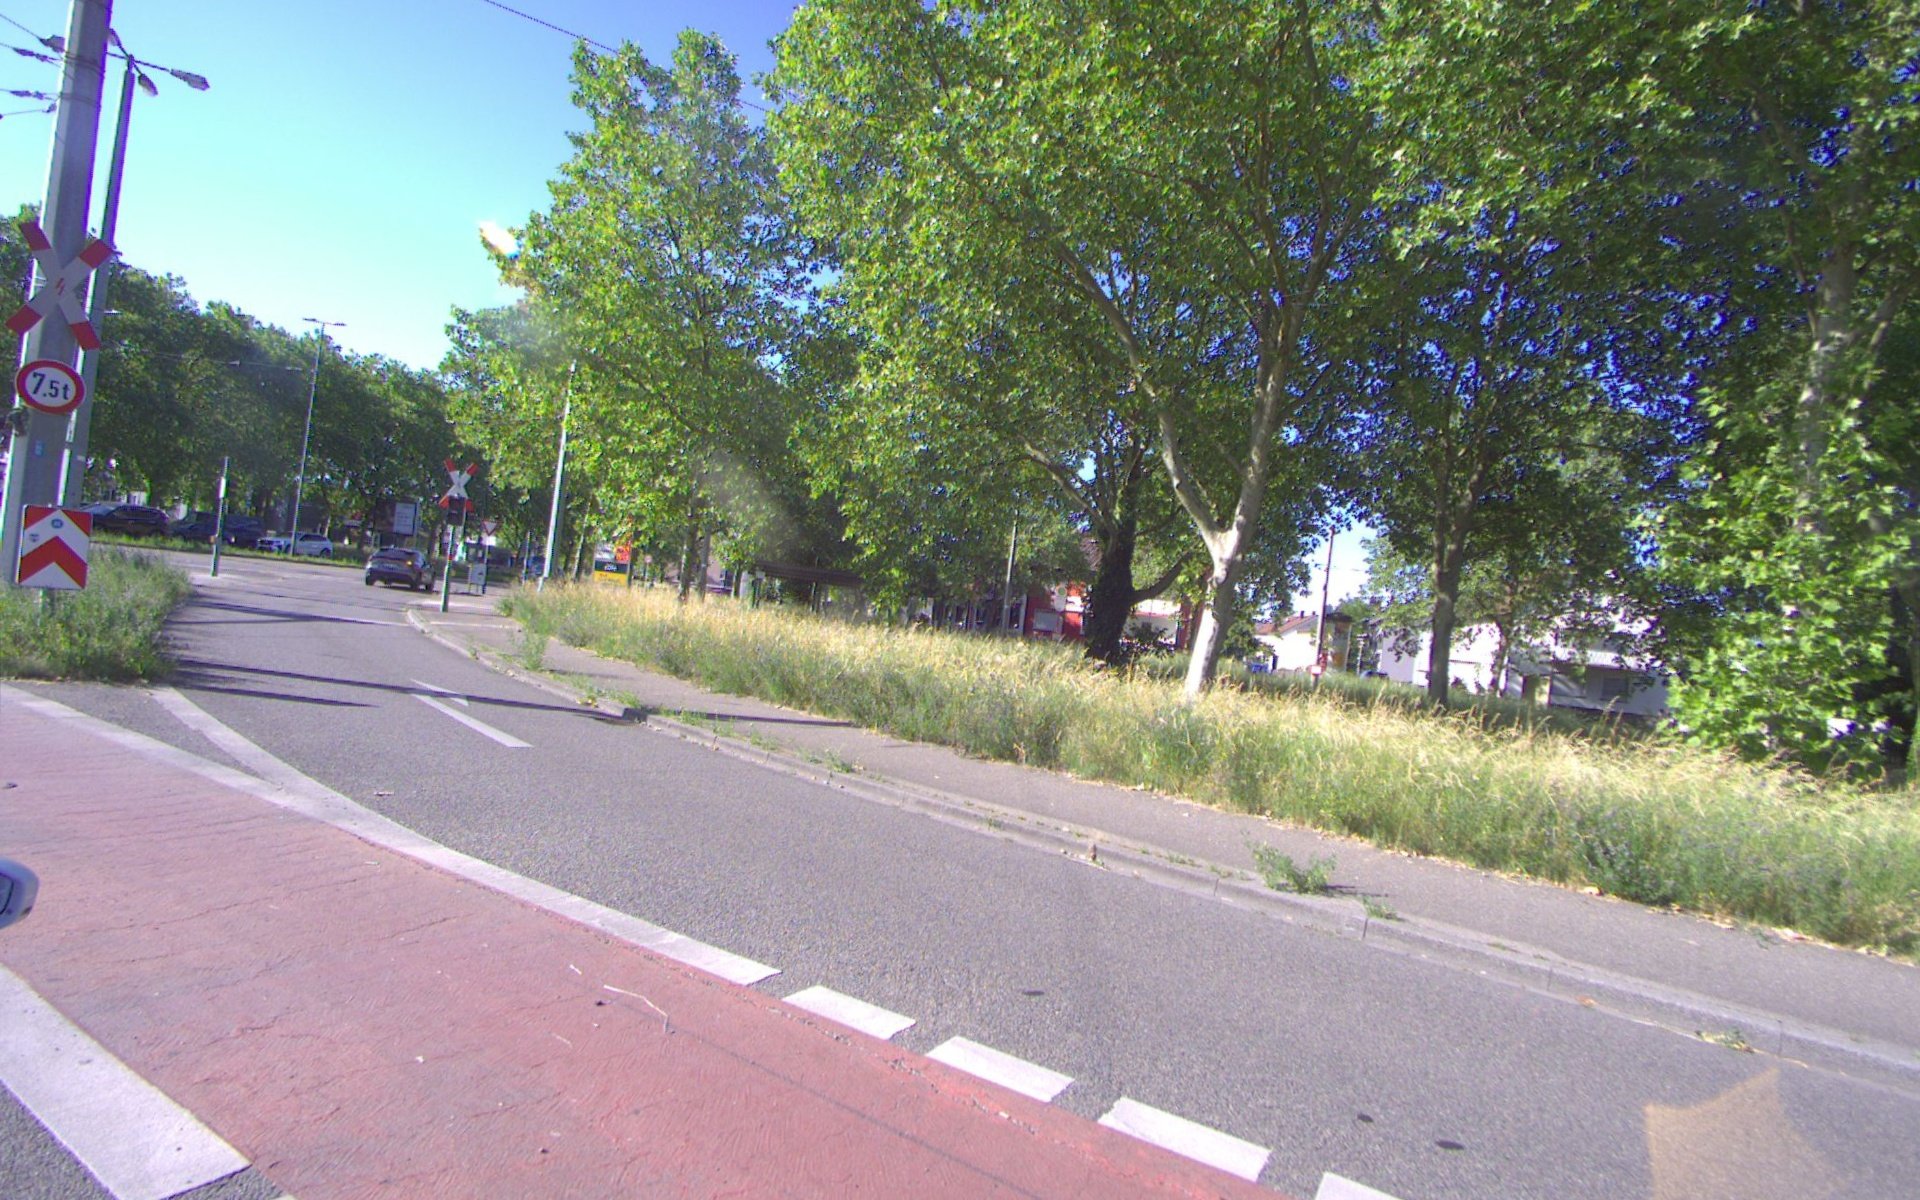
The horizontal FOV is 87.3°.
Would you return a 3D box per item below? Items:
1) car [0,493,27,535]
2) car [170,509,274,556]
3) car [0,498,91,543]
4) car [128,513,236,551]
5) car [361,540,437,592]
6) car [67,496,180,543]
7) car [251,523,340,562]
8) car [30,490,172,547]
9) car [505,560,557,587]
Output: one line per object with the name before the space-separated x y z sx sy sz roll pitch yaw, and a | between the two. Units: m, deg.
car | -39.912 -3.659 39.805 1.782 1.620 4.093 7 -1 7
car | -44.321 -3.998 60.597 2.091 2.095 5.123 7 -1 3
car | -43.304 -3.744 47.086 1.681 1.620 3.862 7 -1 3
car | -41.901 -3.628 54.322 1.898 1.424 4.573 7 -1 4
car | -22.564 -1.331 40.590 1.800 1.724 3.759 8 -1 -18
car | -39.208 -3.739 47.264 1.680 1.619 3.863 7 -1 7
car | -40.787 -3.504 61.888 1.873 1.701 4.782 7 -2 4
car | -36.363 -3.386 42.762 1.885 1.732 4.497 7 -1 4
car | -33.051 -1.994 77.590 1.962 1.637 4.002 7 -1 4
